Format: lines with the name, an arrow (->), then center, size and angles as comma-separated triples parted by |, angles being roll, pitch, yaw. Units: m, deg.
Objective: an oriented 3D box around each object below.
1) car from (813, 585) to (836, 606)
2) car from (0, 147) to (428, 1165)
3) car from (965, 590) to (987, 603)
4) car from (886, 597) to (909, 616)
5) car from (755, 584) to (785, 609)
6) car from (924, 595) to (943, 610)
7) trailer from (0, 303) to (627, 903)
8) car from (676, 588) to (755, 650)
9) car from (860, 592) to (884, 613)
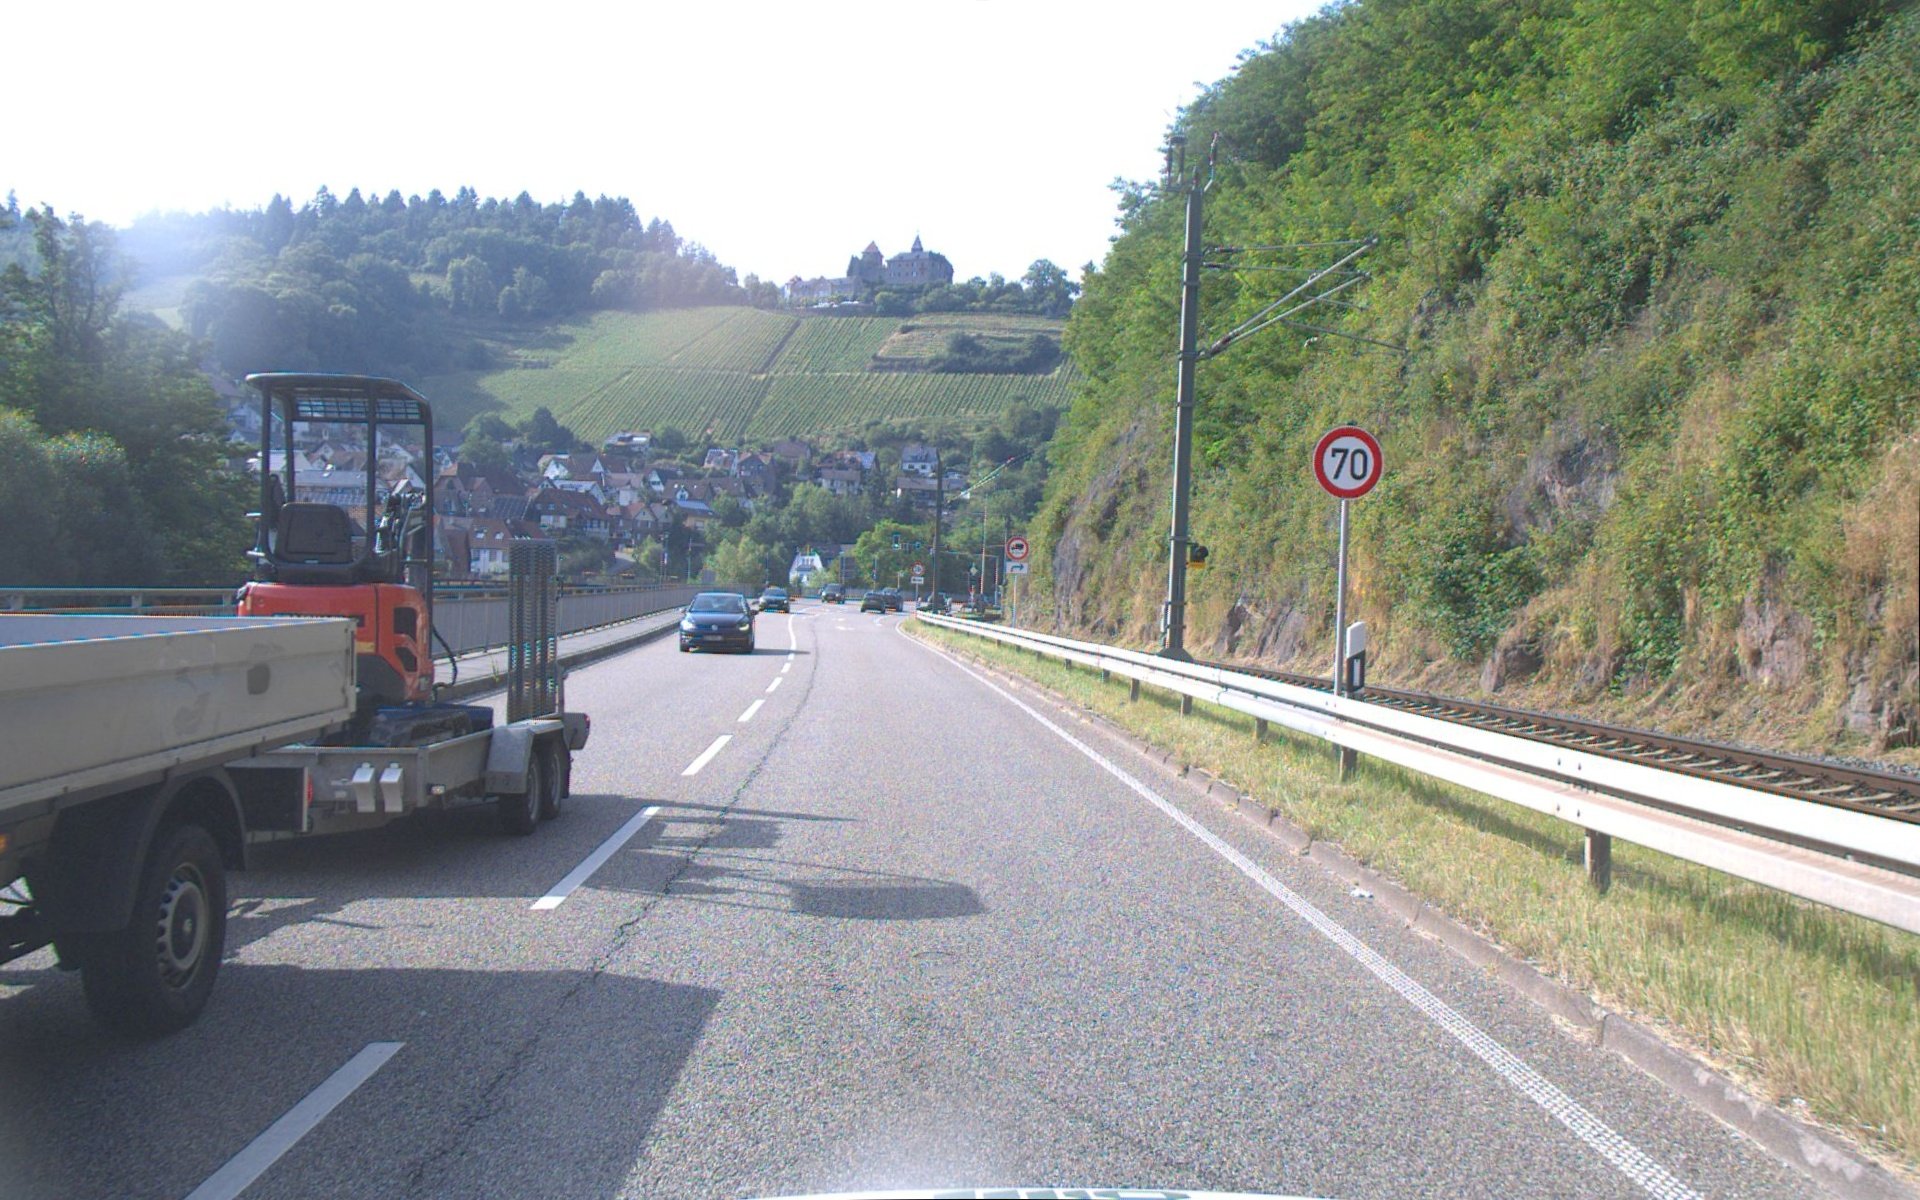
car -> -12.657, -0.450, 154.833 | 1.755, 1.859, 4.828 | 2, 0, 0
car -> -3.487, 0.136, 4.387 | 2.114, 2.576, 6.576 | 1, 0, -1
car -> 1.868, -0.406, 193.383 | 1.770, 1.433, 3.776 | 2, -1, 12
car -> -5.387, 0.564, 141.923 | 1.804, 1.485, 3.709 | 2, -1, -4
car -> -11.419, -0.219, 99.563 | 1.687, 1.460, 4.334 | 1, 0, -6
car -> -2.717, 0.245, 171.391 | 1.769, 1.478, 3.648 | 2, -1, 2
trailer -> -3.636, 0.015, 10.378 | 2.078, 2.764, 5.346 | 1, 0, -1
car -> -6.073, 0.467, 41.431 | 1.670, 1.456, 4.070 | 1, 0, -5
car -> -6.509, 0.187, 122.530 | 1.693, 1.482, 3.409 | 2, -1, -2
